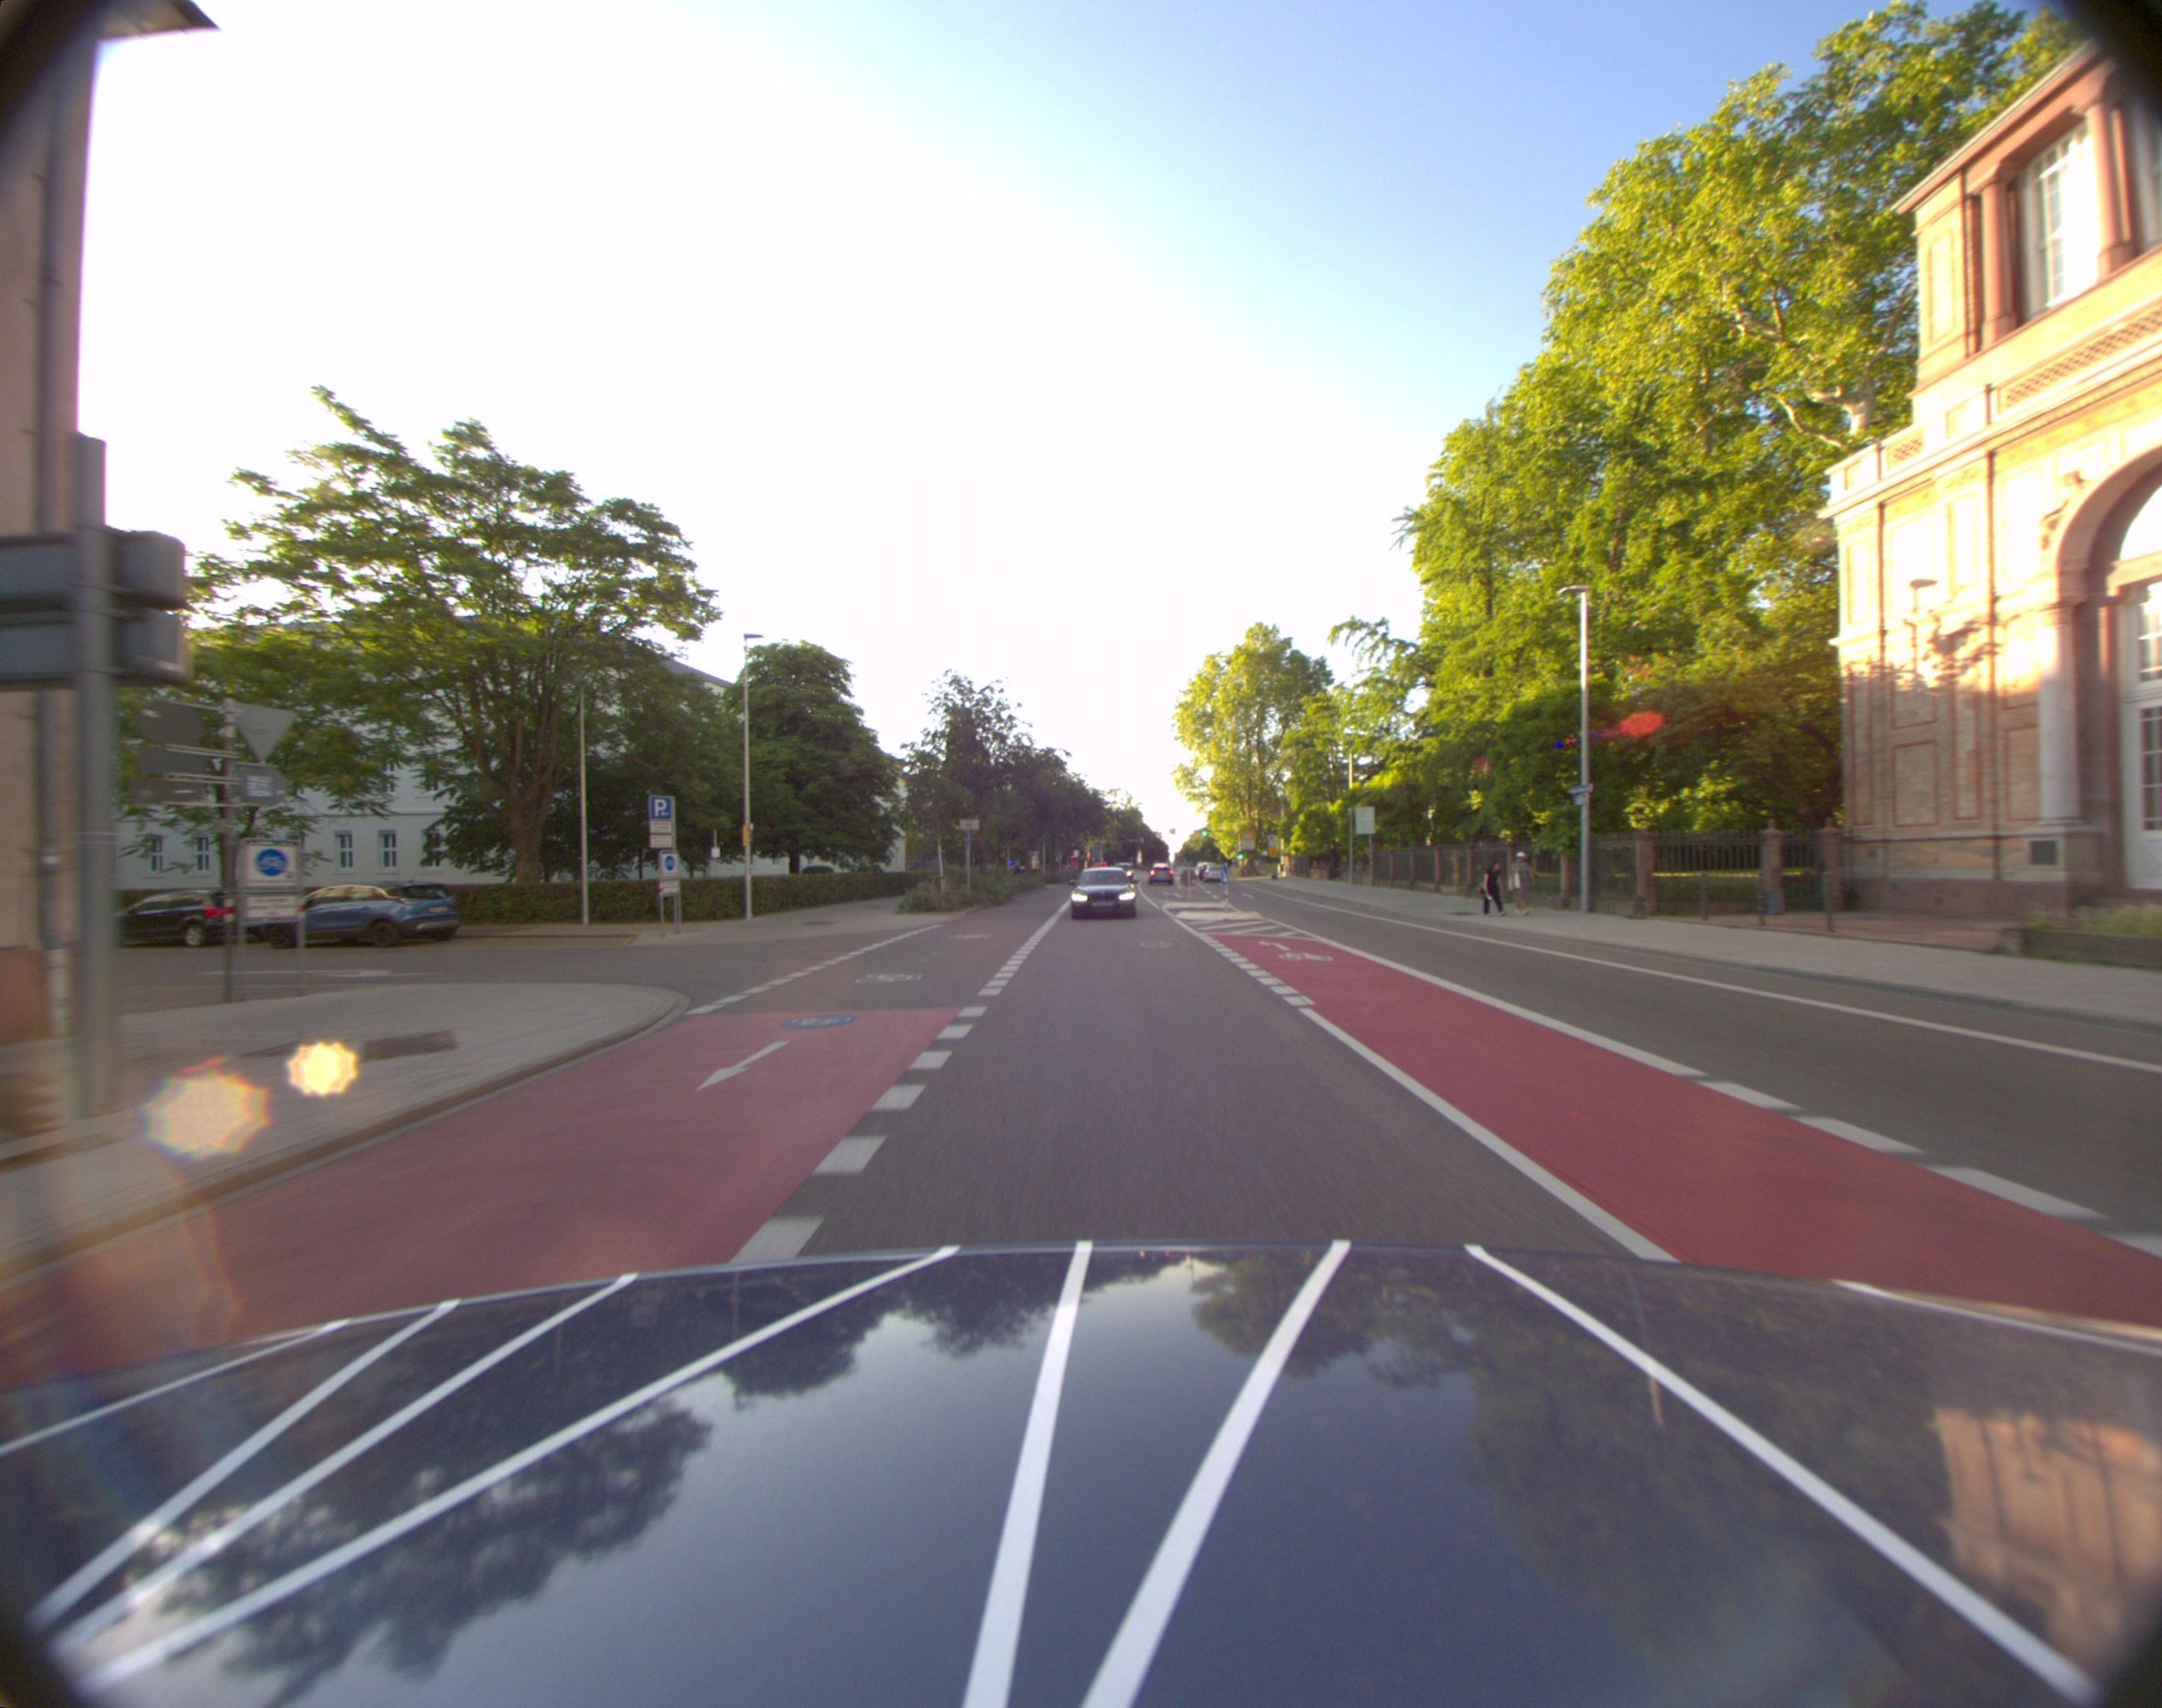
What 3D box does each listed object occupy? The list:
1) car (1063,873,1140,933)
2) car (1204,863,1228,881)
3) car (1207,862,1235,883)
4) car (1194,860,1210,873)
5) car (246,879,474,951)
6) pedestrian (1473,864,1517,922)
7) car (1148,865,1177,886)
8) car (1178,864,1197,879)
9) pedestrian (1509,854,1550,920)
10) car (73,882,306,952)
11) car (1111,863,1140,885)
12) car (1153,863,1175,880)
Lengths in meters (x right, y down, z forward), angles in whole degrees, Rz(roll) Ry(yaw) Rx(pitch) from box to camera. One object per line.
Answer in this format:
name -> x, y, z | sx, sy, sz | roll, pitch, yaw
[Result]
car -> 0.587, 1.333, 22.142 | 1.964, 1.378, 4.781 | -1, 0, 1
car -> 12.964, 1.710, 73.132 | 1.997, 1.674, 4.002 | -1, 0, 6
car -> 11.462, 1.501, 62.305 | 1.920, 1.674, 4.002 | -1, 0, 6
car -> 16.512, 1.692, 103.947 | 1.997, 1.674, 4.002 | -1, 0, 6
car -> -17.838, 1.477, 18.931 | 3.926, 1.571, 1.873 | -1, 0, 2
pedestrian -> 11.259, 1.061, 20.703 | 0.675, 1.504, 0.836 | -5, -2, 8
car -> 5.960, 1.587, 56.183 | 1.776, 1.455, 4.000 | 1, 0, 1
car -> 12.193, 1.983, 87.181 | 1.997, 1.674, 4.002 | -1, 0, 6
pedestrian -> 12.015, 0.868, 20.384 | 0.807, 1.728, 0.851 | -1, 0, 24
car -> -23.171, 1.607, 19.853 | 3.926, 1.611, 1.873 | -1, 0, 2
car -> 3.777, 1.707, 65.627 | 1.839, 1.674, 4.221 | -3, 0, -5
car -> 8.417, 1.747, 77.204 | 1.902, 1.611, 3.896 | -1, 0, 3
